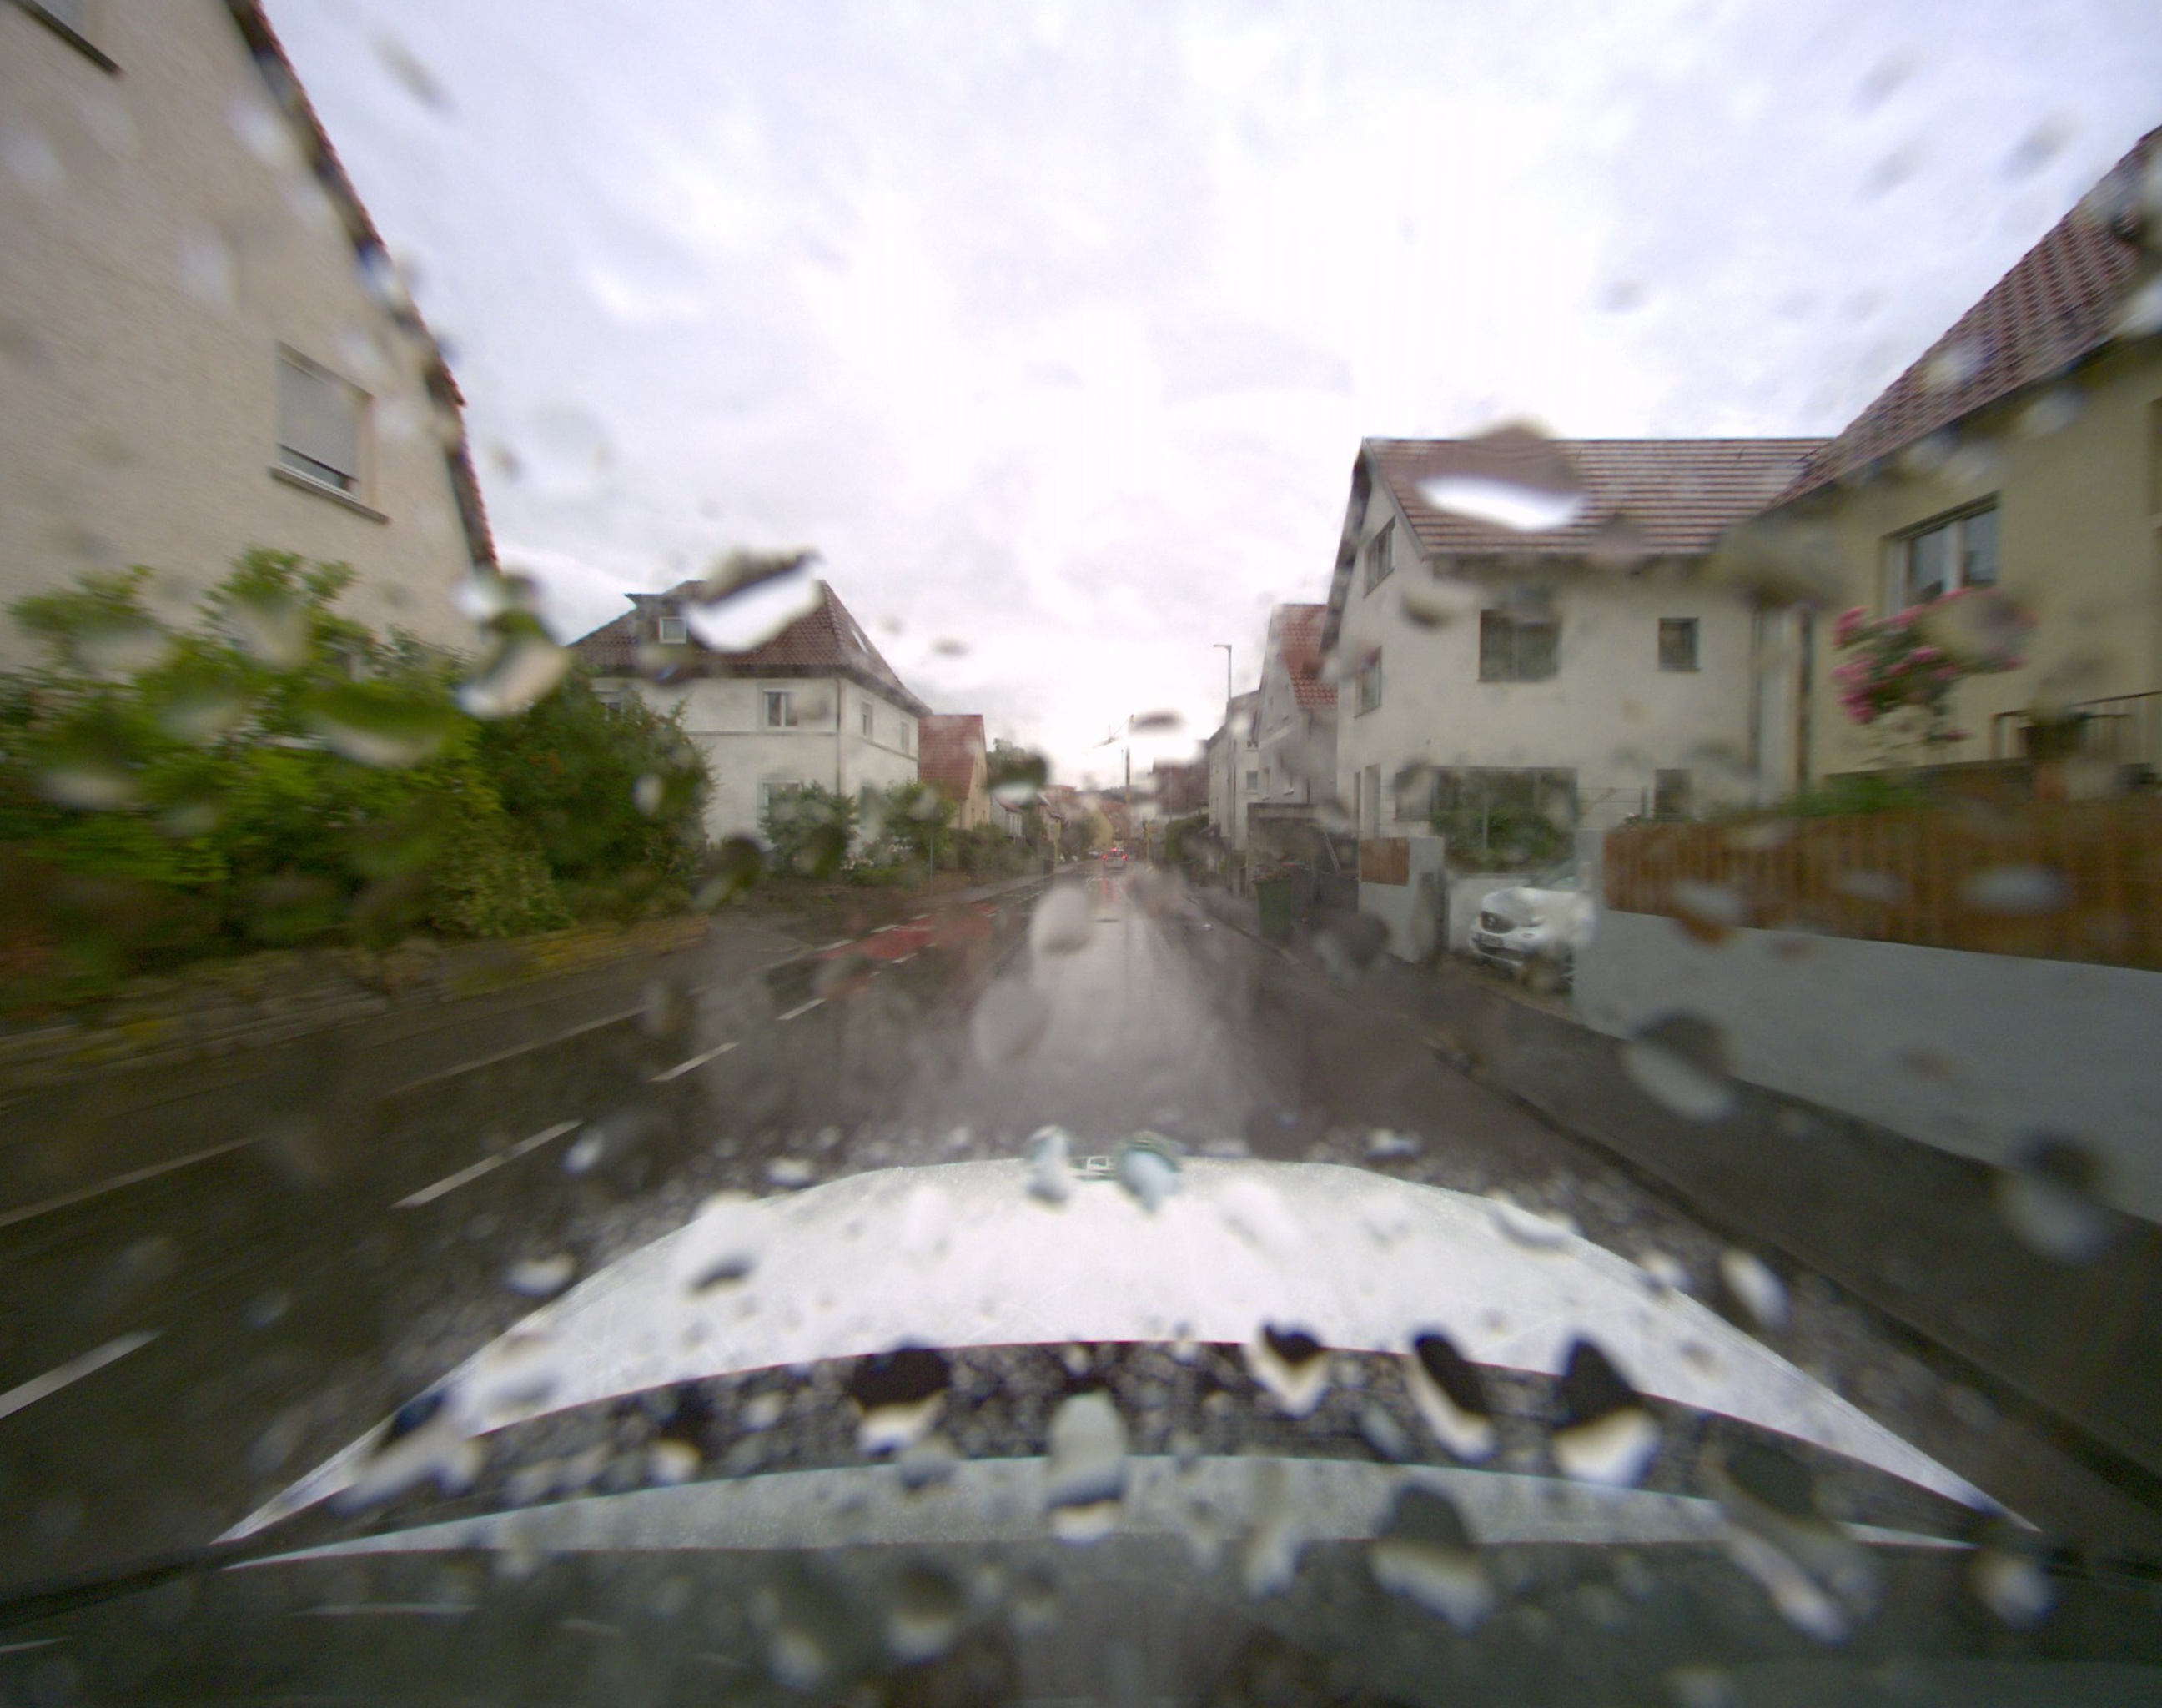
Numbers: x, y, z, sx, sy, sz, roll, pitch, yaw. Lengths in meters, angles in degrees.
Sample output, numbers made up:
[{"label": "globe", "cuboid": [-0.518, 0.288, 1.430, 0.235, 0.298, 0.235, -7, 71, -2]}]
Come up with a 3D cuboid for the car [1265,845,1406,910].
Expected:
[{"label": "car", "cuboid": [6.925, 0.608, 22.385, 3.361, 1.562, 1.515, 2, 2, 1]}]

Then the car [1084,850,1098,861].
[{"label": "car", "cuboid": [1.651, 0.297, 137.783, 1.832, 1.578, 4.299, 2, 3, 7]}]

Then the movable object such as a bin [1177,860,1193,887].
[{"label": "movable object such as a bin", "cuboid": [5.297, 0.982, 41.534, 0.781, 1.277, 0.715, 2, 2, 6]}]

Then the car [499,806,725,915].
[{"label": "car", "cuboid": [-11.819, 0.110, 20.839, 4.351, 2.621, 2.319, 0, 3, -2]}]

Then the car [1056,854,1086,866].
[{"label": "car", "cuboid": [-1.508, 0.950, 122.204, 4.252, 1.578, 1.852, 2, 3, 7]}]

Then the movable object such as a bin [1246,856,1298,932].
[{"label": "movable object such as a bin", "cuboid": [3.374, 0.692, 14.456, 0.742, 1.279, 0.883, 0, 2, 2]}]

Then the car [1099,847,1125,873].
[{"label": "car", "cuboid": [2.628, 0.484, 68.269, 2.109, 1.887, 4.506, 2, 3, 2]}]

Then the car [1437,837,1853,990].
[{"label": "car", "cuboid": [6.105, 0.592, 9.137, 3.481, 1.522, 1.740, -1, 1, 1]}]

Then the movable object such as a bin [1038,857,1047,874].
[{"label": "movable object such as a bin", "cuboid": [-3.052, 0.894, 64.102, 0.681, 1.223, 0.639, 2, 2, -3]}]

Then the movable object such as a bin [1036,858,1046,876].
[{"label": "movable object such as a bin", "cuboid": [-3.099, 0.980, 63.277, 0.681, 1.322, 0.639, 2, 2, -3]}]
